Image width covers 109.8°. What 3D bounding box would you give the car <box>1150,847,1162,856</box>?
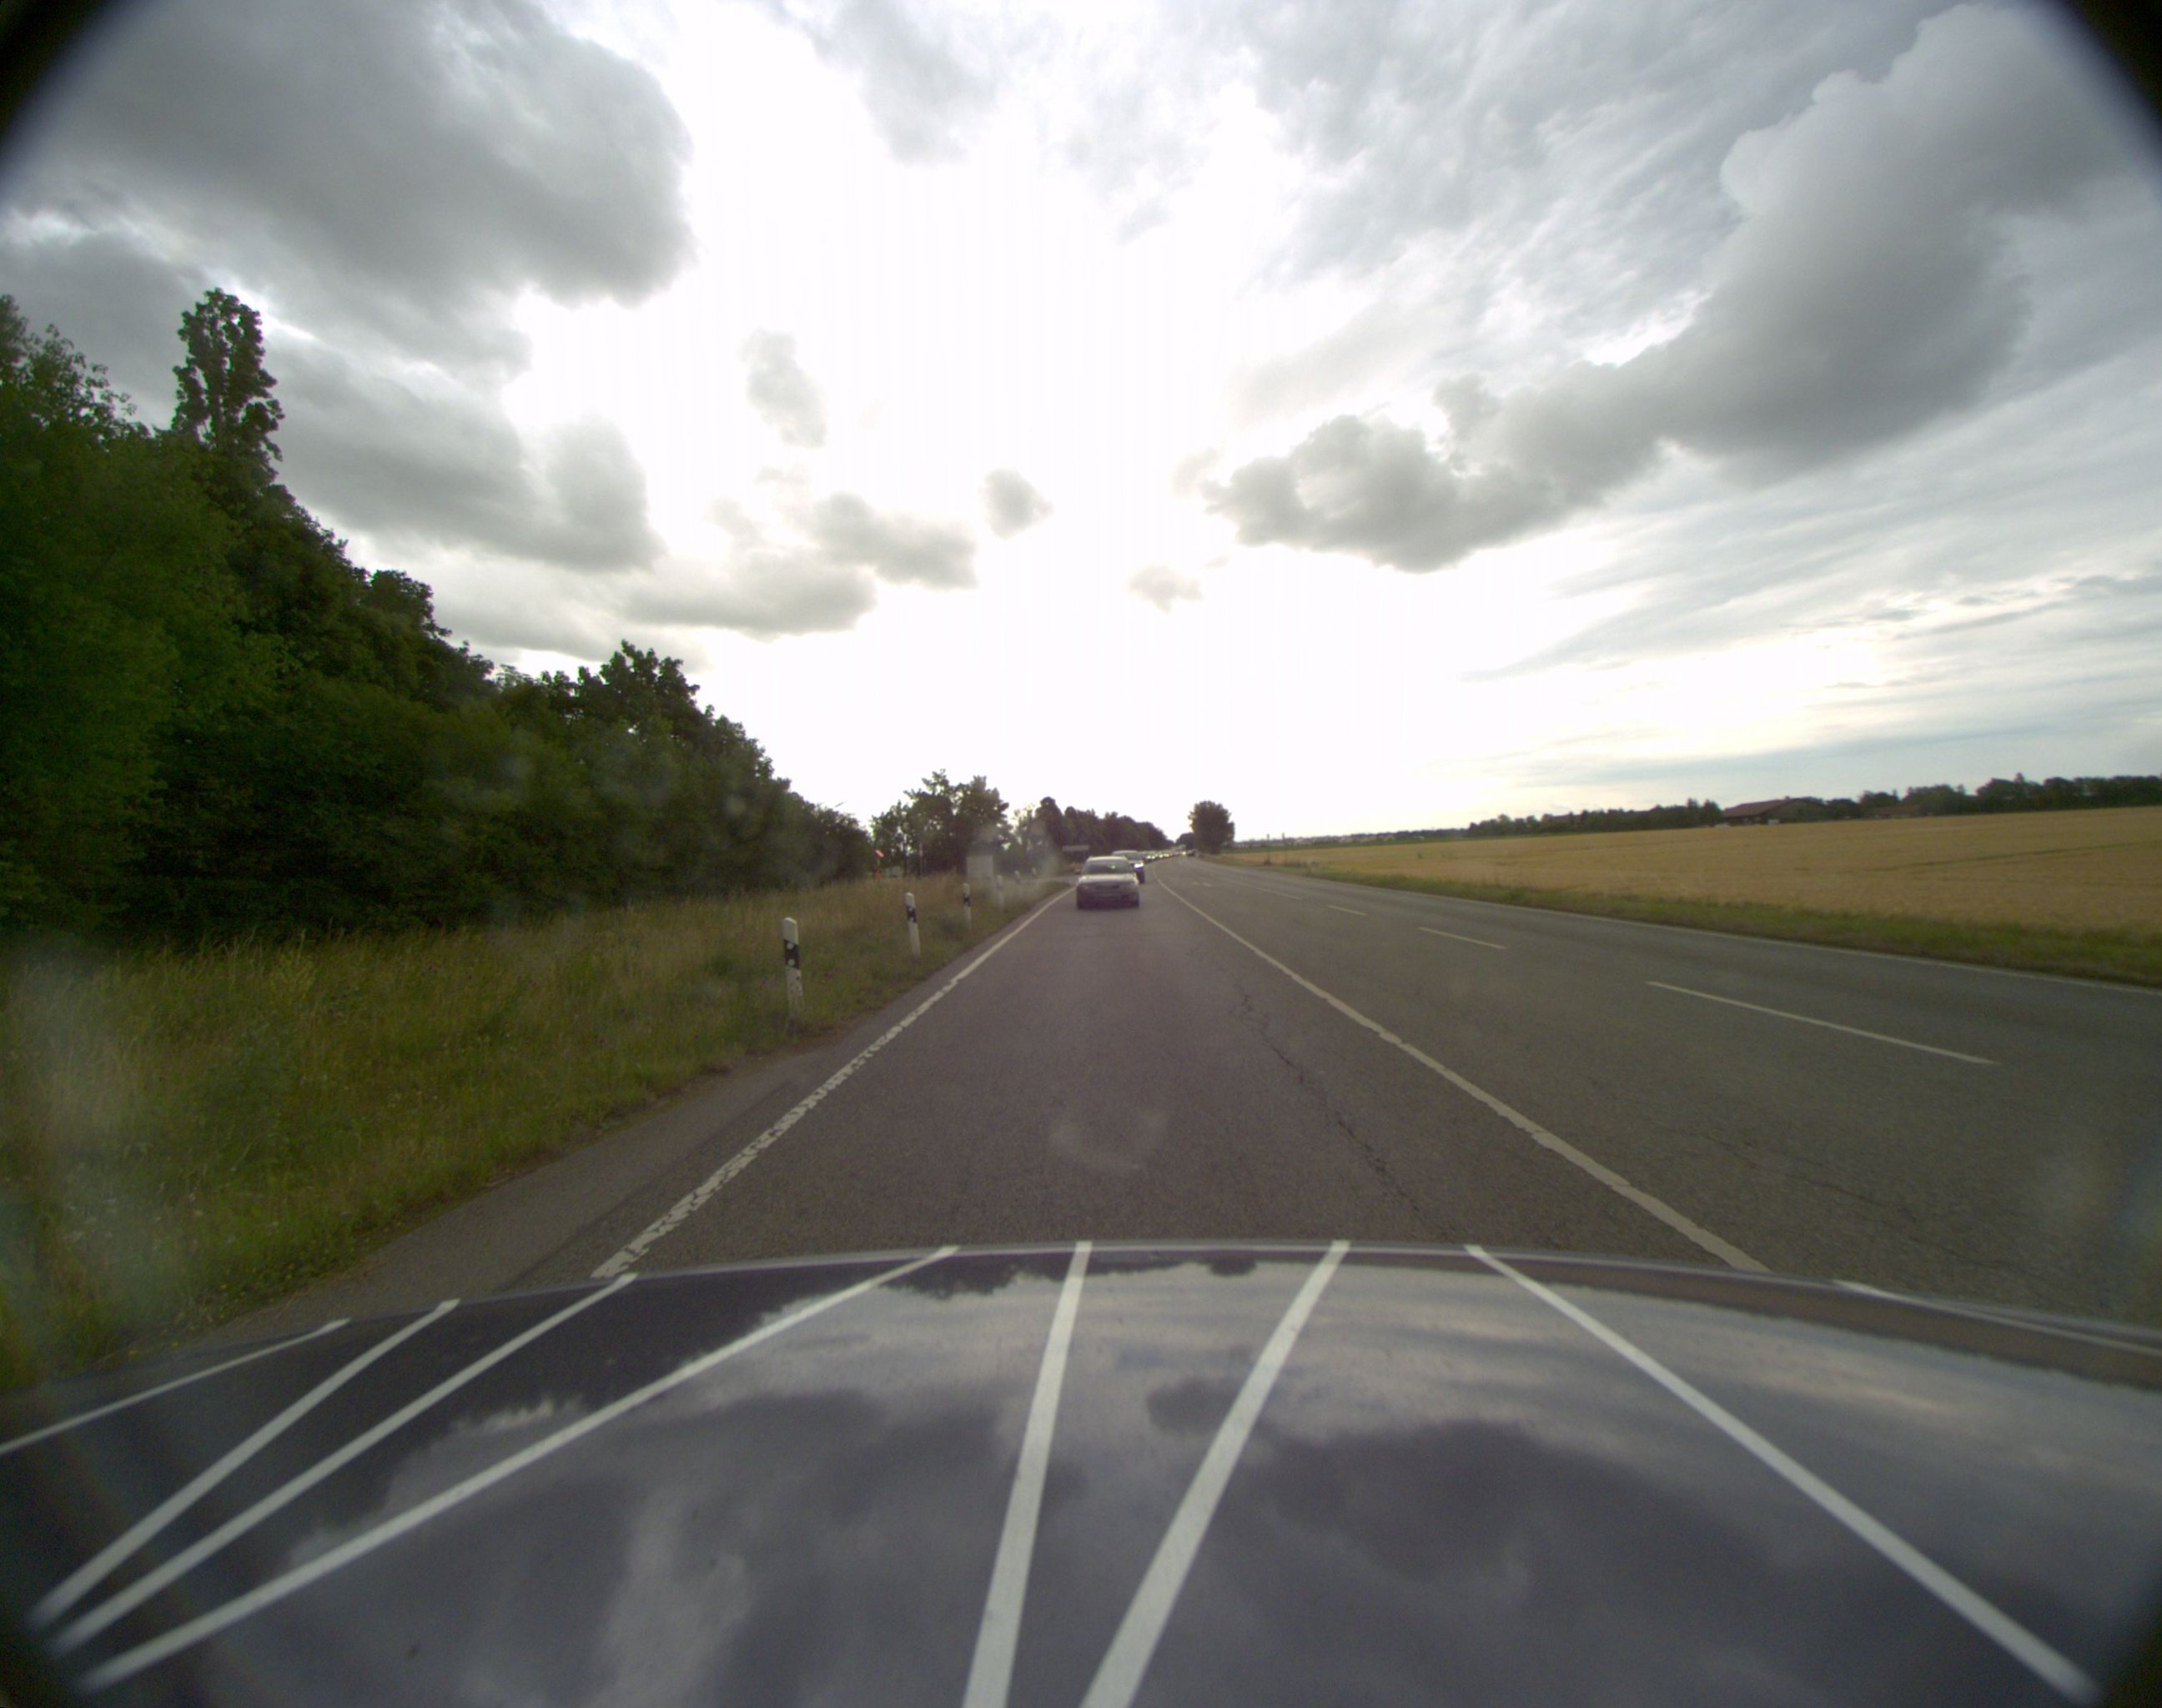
[{"bbox_3d":[13.730,-0.448,138.652,1.792,1.573,4.139,-2,0,9],"label":"car"}]

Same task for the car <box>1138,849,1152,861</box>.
[{"bbox_3d":[8.622,0.105,102.129,1.793,1.573,4.369,-2,0,7],"label":"car"}]

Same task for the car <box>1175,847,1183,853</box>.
[{"bbox_3d":[26.259,-1.111,203.756,1.792,1.531,4.141,-2,0,14],"label":"car"}]

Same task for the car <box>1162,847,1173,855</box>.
[{"bbox_3d":[18.483,-0.702,162.537,1.792,1.573,4.140,-2,0,12],"label":"car"}]

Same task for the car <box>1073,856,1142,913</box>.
[{"bbox_3d":[0.801,0.824,22.431,1.793,1.415,4.368,-2,0,3],"label":"car"}]

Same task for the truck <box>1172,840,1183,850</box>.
[{"bbox_3d":[29.125,-2.677,228.921,2.318,2.749,7.679,-3,0,12],"label":"truck"}]

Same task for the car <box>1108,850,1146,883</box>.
[{"bbox_3d":[2.384,0.599,39.907,1.793,1.573,4.368,-2,0,3],"label":"car"}]

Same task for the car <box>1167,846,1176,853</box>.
[{"bbox_3d":[21.370,-0.968,179.478,1.792,1.573,4.140,-2,0,13],"label":"car"}]

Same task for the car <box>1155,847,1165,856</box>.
[{"bbox_3d":[15.579,-0.467,150.172,1.792,1.573,4.139,-2,0,9],"label":"car"}]

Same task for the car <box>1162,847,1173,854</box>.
[{"bbox_3d":[19.326,-0.767,169.579,1.953,1.573,4.140,-2,0,13],"label":"car"}]

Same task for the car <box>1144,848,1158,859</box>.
[{"bbox_3d":[10.327,-0.053,111.482,1.793,1.573,4.189,-2,0,7],"label":"car"}]

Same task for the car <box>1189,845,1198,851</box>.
[{"bbox_3d":[27.275,-1.550,184.618,1.830,1.402,4.427,-3,0,12],"label":"car"}]
